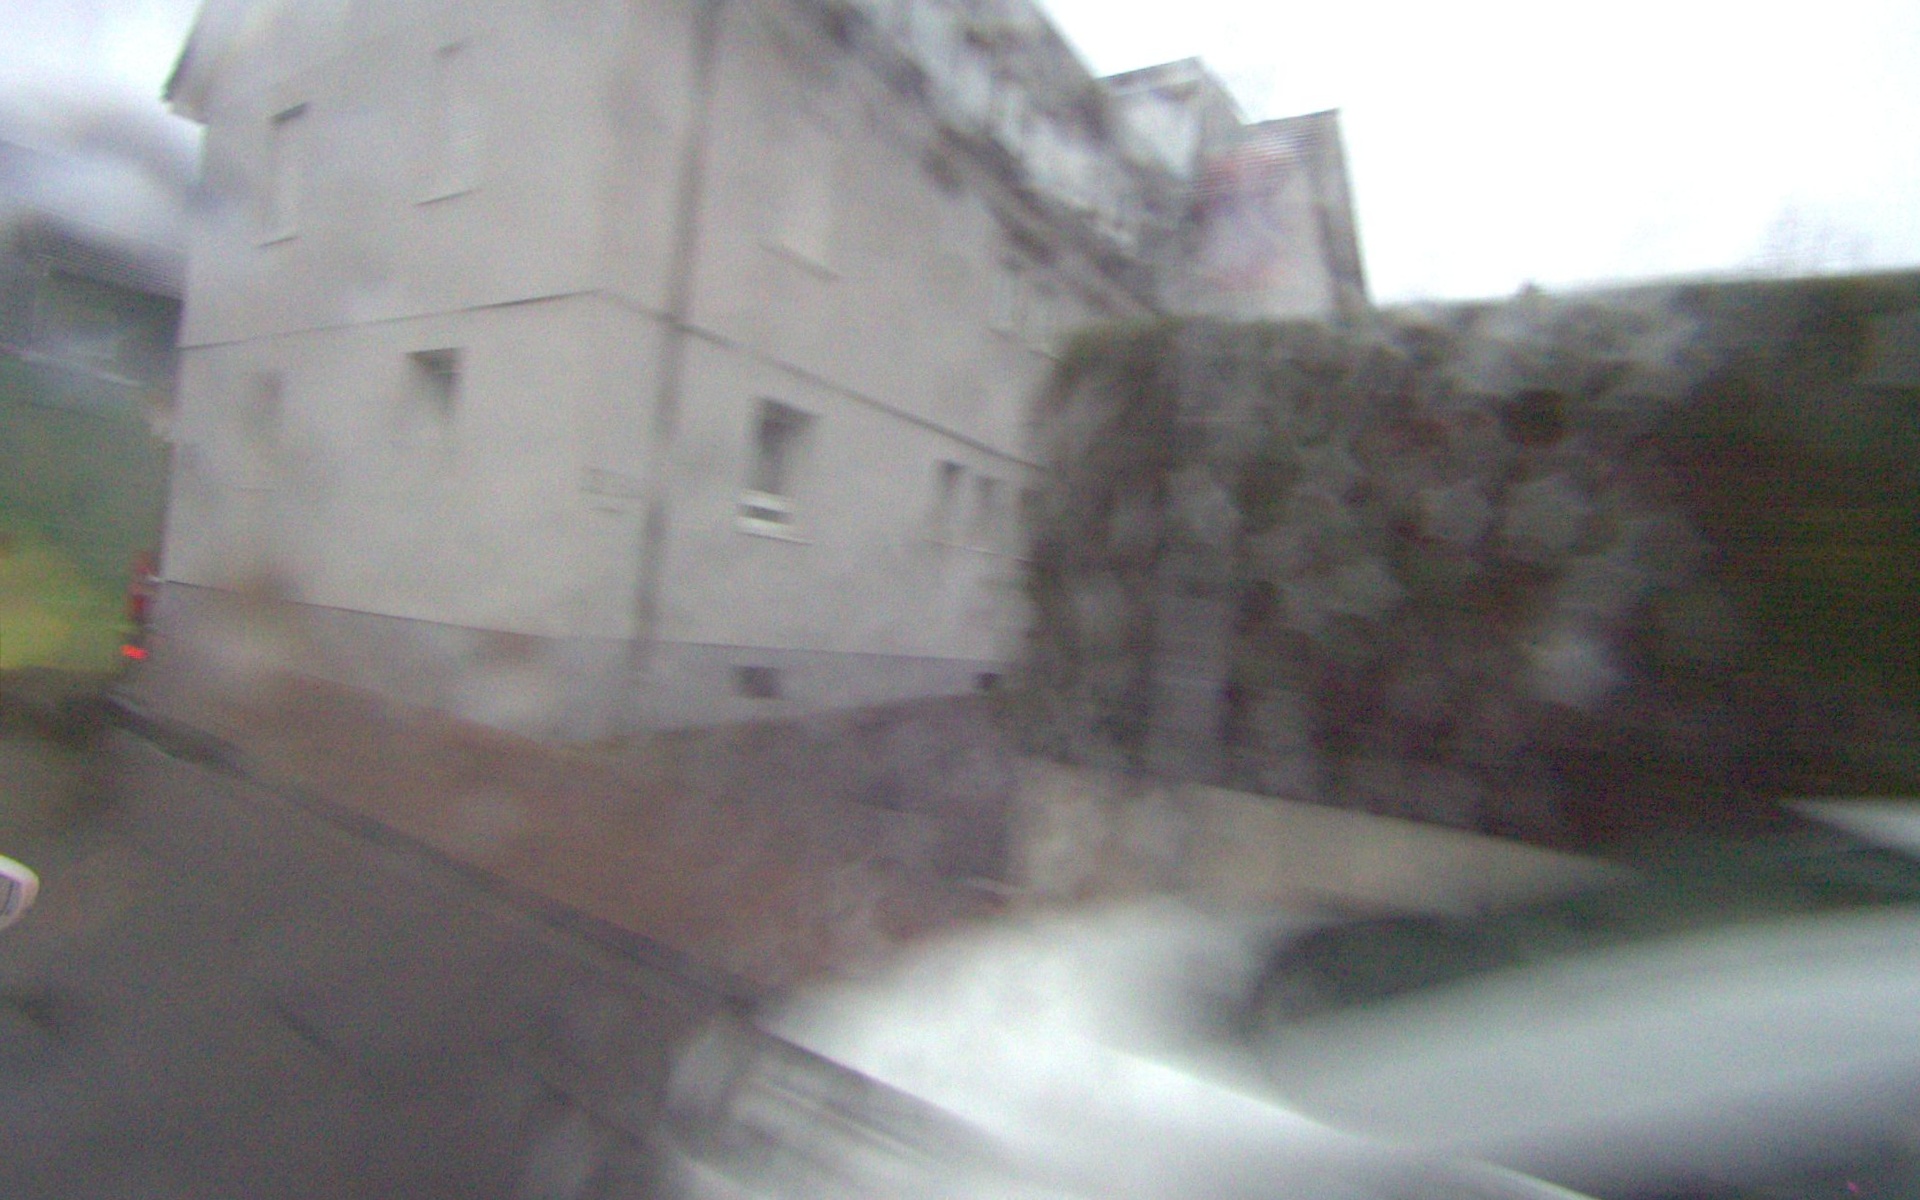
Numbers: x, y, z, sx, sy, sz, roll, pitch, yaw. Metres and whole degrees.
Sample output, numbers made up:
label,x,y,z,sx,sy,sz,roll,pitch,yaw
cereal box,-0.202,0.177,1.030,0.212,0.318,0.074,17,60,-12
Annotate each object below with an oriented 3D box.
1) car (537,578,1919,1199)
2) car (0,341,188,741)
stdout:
label,x,y,z,sx,sy,sz,roll,pitch,yaw
car,1.588,0.986,1.126,4.300,1.495,1.645,7,-1,33
car,-8.306,-0.612,7.796,5.528,2.483,2.010,6,-1,36
